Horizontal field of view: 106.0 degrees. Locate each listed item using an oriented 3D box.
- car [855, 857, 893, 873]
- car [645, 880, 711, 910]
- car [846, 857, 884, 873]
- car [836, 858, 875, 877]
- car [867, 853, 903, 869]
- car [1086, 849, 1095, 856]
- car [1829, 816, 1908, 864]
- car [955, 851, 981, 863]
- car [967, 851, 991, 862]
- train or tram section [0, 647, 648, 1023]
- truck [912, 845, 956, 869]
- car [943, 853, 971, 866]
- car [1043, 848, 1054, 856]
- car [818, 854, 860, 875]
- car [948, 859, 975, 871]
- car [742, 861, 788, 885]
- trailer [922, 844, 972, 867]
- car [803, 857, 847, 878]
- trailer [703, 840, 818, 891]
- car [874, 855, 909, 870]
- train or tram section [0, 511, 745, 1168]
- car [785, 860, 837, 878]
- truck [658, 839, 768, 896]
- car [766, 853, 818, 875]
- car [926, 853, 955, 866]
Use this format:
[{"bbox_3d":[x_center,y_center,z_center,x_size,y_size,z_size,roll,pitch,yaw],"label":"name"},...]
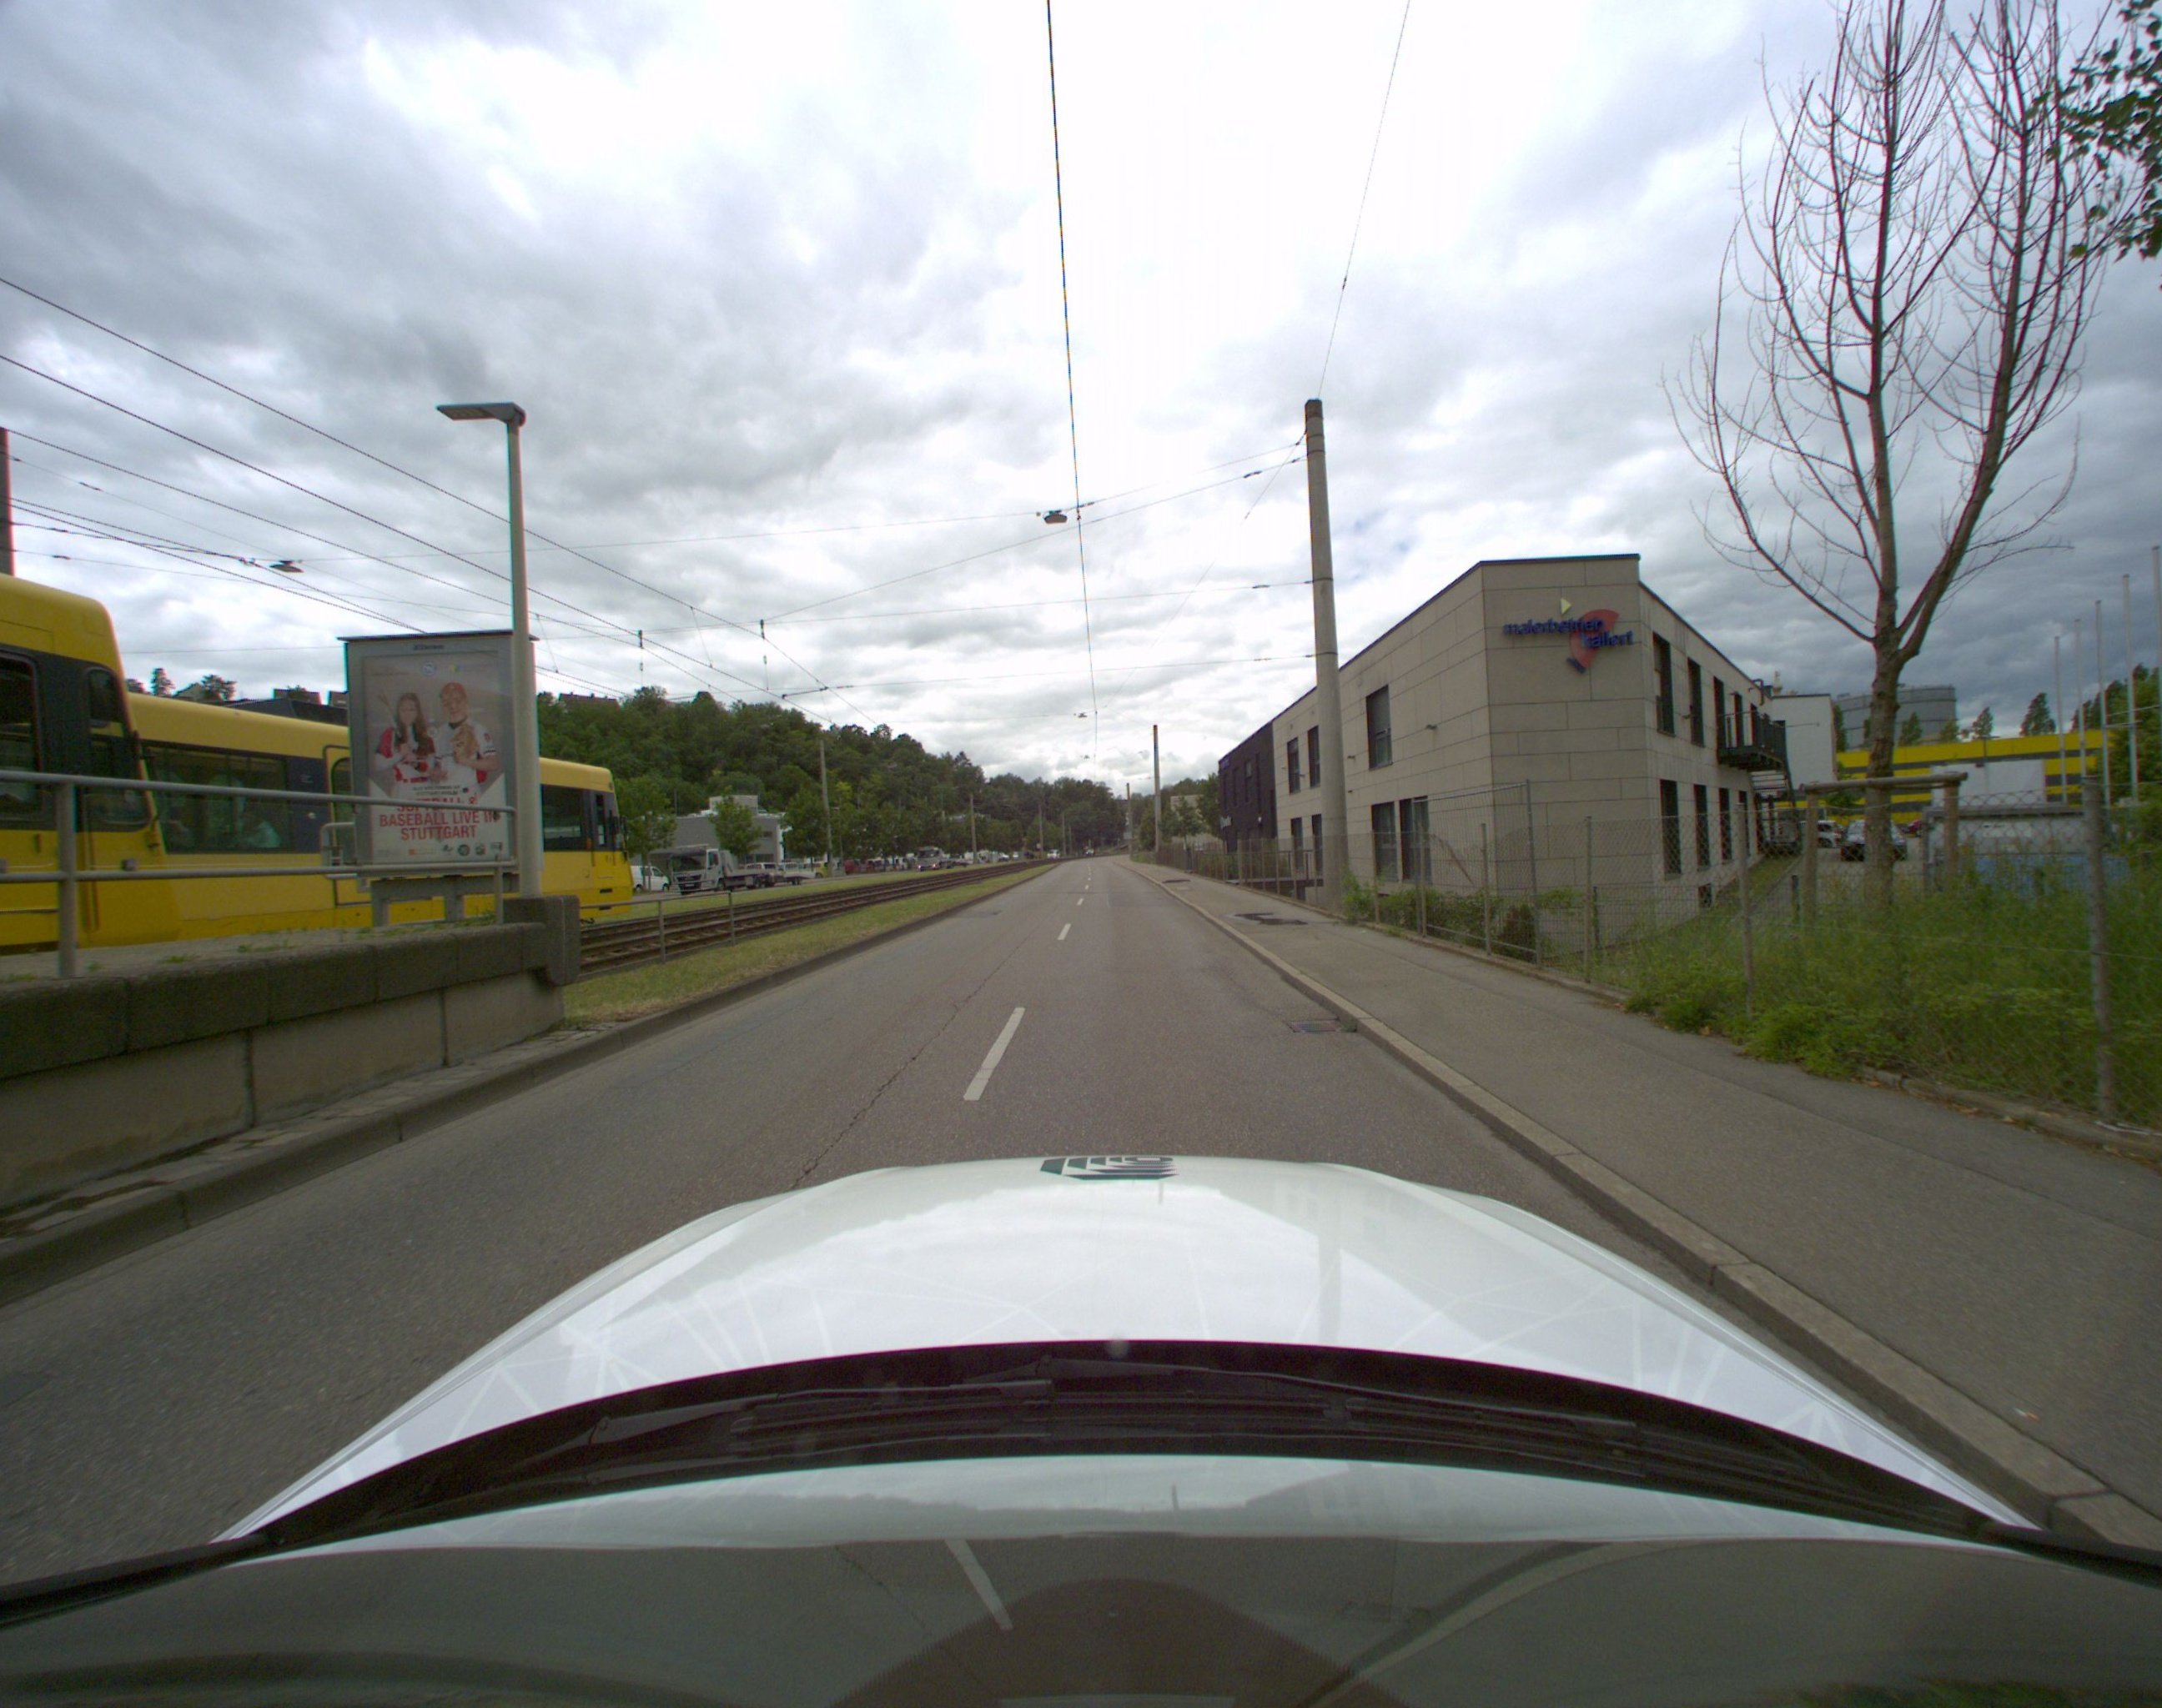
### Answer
[{"bbox_3d":[-25.476,1.373,100.184,3.965,1.705,1.838,-3,1,7],"label":"car"},{"bbox_3d":[-27.355,2.810,55.406,2.146,1.877,4.259,-3,-3,4],"label":"car"},{"bbox_3d":[-25.976,1.313,97.997,3.965,1.706,1.838,-3,0,8],"label":"car"},{"bbox_3d":[-26.442,1.610,95.530,3.969,2.014,2.002,-3,-3,4],"label":"car"},{"bbox_3d":[-24.739,0.889,102.909,3.965,1.706,1.838,-3,0,7],"label":"car"},{"bbox_3d":[2.327,-0.398,200.429,1.986,1.640,4.002,-2,0,2],"label":"car"},{"bbox_3d":[30.058,-0.474,31.046,4.022,1.574,1.856,1,-5,-43],"label":"car"},{"bbox_3d":[-19.343,0.483,139.729,3.965,1.706,1.837,-3,-3,7],"label":"car"},{"bbox_3d":[-18.434,0.482,147.410,3.965,1.706,1.837,-3,-3,7],"label":"car"},{"bbox_3d":[-10.546,-0.180,12.919,1.986,3.795,9.184,-2,0,2],"label":"train or tram section"},{"bbox_3d":[-17.154,0.259,95.398,2.866,2.589,6.929,-2,0,9],"label":"truck"},{"bbox_3d":[-19.742,0.883,129.357,3.965,1.706,1.837,-3,-3,7],"label":"car"},{"bbox_3d":[-7.099,-0.491,177.701,1.986,1.640,4.002,-2,0,2],"label":"car"},{"bbox_3d":[-26.871,1.202,90.499,3.969,2.014,2.002,-3,-3,4],"label":"car"},{"bbox_3d":[-19.701,1.743,134.665,3.965,1.705,1.838,-3,1,7],"label":"car"},{"bbox_3d":[-27.792,1.729,71.790,1.985,1.898,4.614,-3,-3,4],"label":"car"},{"bbox_3d":[-16.368,0.176,100.422,2.875,2.583,10.020,-2,0,9],"label":"trailer"},{"bbox_3d":[-27.401,1.472,87.376,3.969,2.014,2.002,-3,-3,4],"label":"car"},{"bbox_3d":[-21.041,0.632,54.486,2.881,2.982,10.798,-2,0,3],"label":"trailer"},{"bbox_3d":[-24.483,1.146,105.408,3.965,1.705,1.838,-3,1,7],"label":"car"},{"bbox_3d":[-7.990,-0.146,10.074,2.960,4.065,10.201,-2,1,2],"label":"train or tram section"},{"bbox_3d":[-27.920,1.565,84.338,4.576,1.575,2.001,-3,-3,3],"label":"car"},{"bbox_3d":[-21.351,0.719,47.752,2.871,2.990,6.917,-2,0,3],"label":"truck"},{"bbox_3d":[-27.948,0.980,78.655,4.554,1.898,2.011,-4,-4,23],"label":"car"},{"bbox_3d":[-21.706,0.813,125.724,3.965,1.706,1.837,-3,-3,7],"label":"car"}]
